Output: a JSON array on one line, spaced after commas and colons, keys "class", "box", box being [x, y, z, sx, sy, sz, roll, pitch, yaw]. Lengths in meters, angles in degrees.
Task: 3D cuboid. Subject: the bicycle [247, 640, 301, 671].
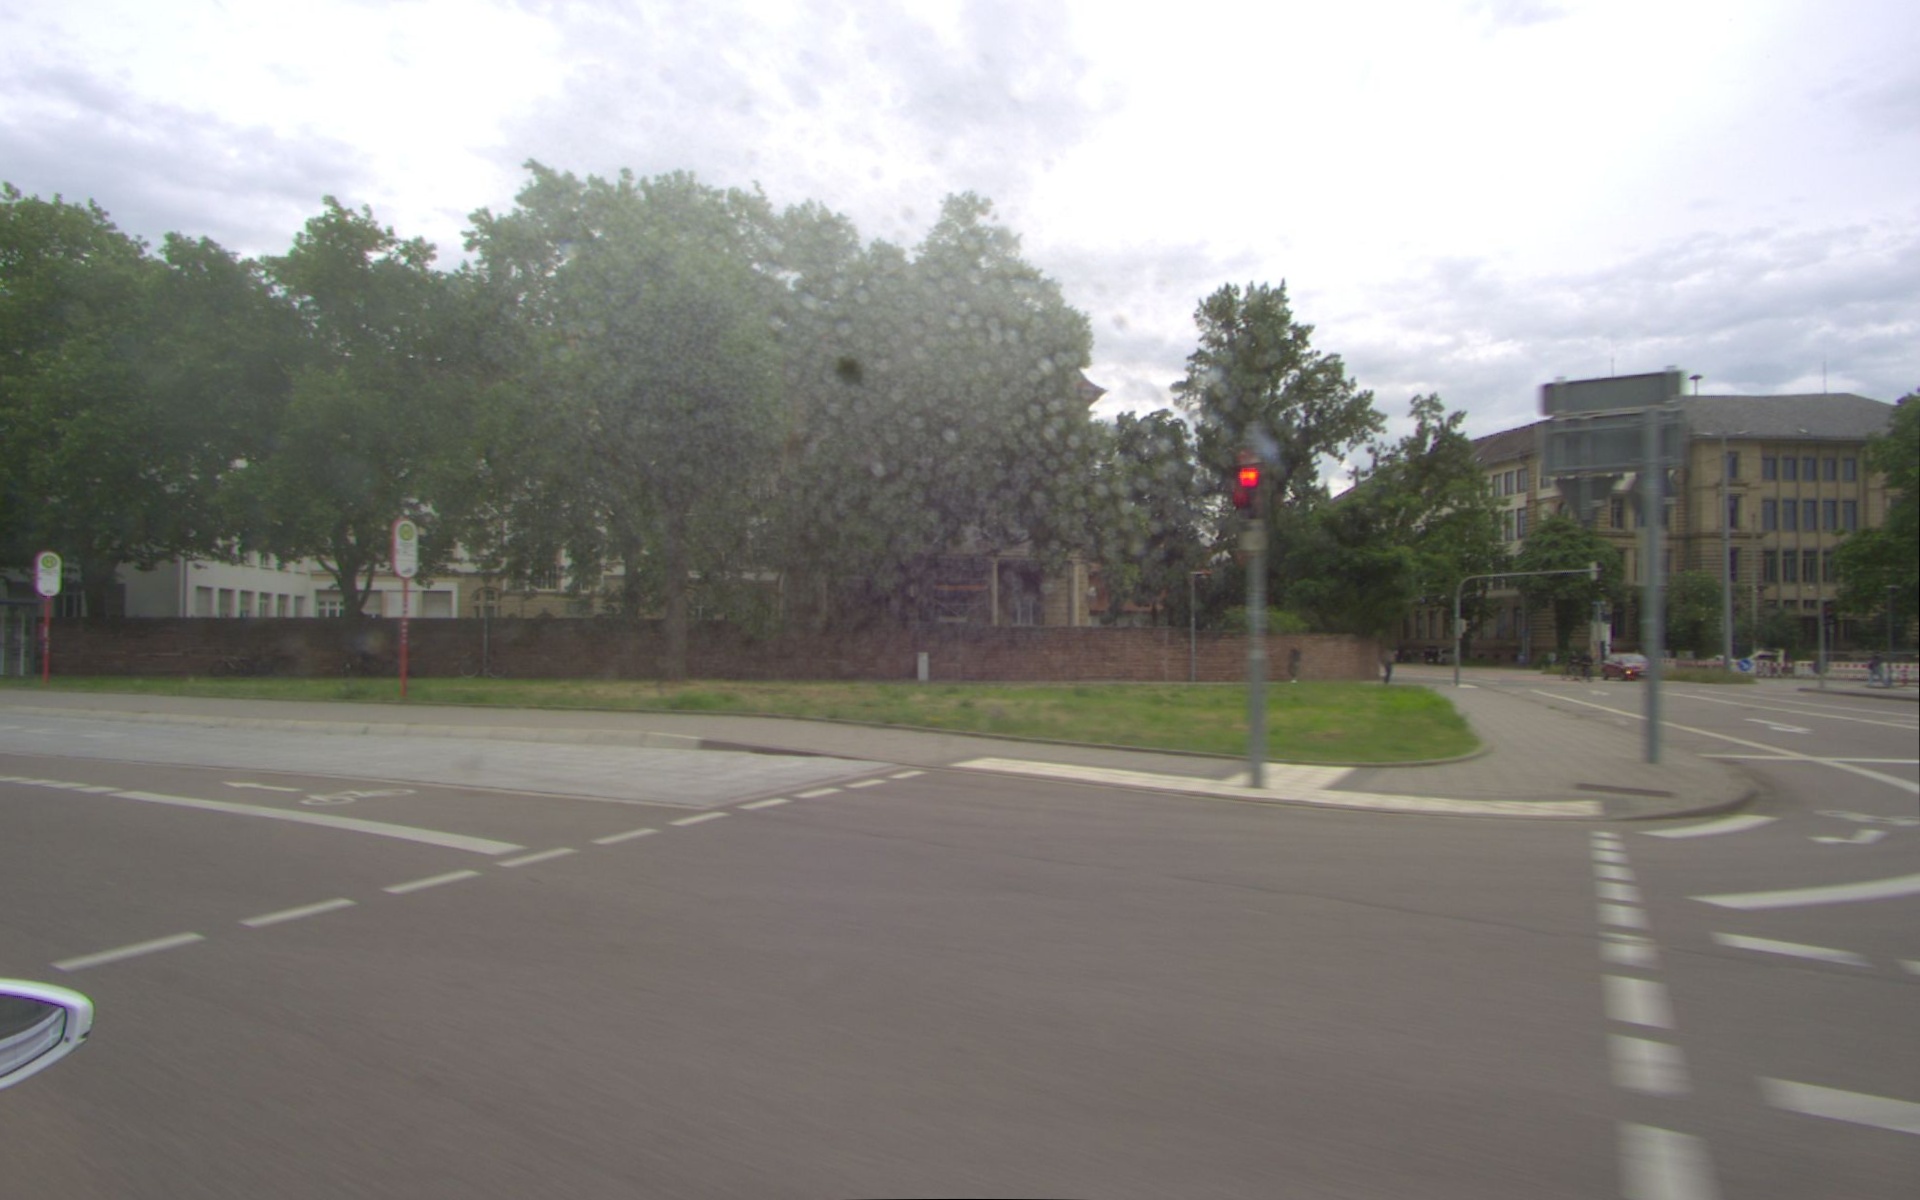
[{"class": "bicycle", "box": [-26.469, 2.130, 38.634, 1.680, 1.144, 0.596, 1, 0, 0]}]

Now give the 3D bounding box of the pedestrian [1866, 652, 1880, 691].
[{"class": "pedestrian", "box": [41.661, 3.263, 45.699, 0.366, 1.727, 0.372, 1, 0, 25]}]

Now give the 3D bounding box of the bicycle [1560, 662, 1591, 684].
[{"class": "bicycle", "box": [34.452, 4.076, 56.103, 0.778, 1.052, 2.220, 0, -1, 12]}]

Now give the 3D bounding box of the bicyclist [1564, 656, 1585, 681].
[{"class": "bicyclist", "box": [34.457, 3.832, 56.130, 0.778, 1.375, 0.740, 0, 0, 12]}]

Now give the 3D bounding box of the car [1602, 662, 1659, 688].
[{"class": "car", "box": [36.340, 4.046, 54.375, 1.420, 1.171, 3.534, 0, -1, 13]}]

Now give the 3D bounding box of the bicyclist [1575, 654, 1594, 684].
[{"class": "bicyclist", "box": [33.462, 3.676, 53.660, 0.590, 1.541, 0.782, 1, 0, 11]}]

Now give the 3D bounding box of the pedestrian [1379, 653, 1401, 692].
[{"class": "pedestrian", "box": [19.096, 3.210, 44.461, 0.684, 1.659, 0.867, 1, -2, 40]}]

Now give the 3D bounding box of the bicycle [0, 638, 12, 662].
[{"class": "bicycle", "box": [-38.593, 1.975, 39.835, 1.496, 0.955, 0.417, 0, 0, 9]}]

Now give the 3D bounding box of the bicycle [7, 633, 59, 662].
[{"class": "bicycle", "box": [-36.355, 1.852, 39.279, 1.623, 1.119, 0.598, 0, 0, 6]}]

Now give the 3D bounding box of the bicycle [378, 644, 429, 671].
[{"class": "bicycle", "box": [-21.417, 2.205, 38.555, 1.605, 1.005, 0.551, 1, 0, -3]}]

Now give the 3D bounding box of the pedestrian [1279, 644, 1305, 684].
[{"class": "pedestrian", "box": [14.842, 2.864, 44.803, 0.811, 1.758, 0.754, 1, 0, -29]}]

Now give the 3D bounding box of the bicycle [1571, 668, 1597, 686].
[{"class": "bicycle", "box": [33.472, 4.137, 53.741, 0.590, 0.831, 1.820, 0, -1, 11]}]

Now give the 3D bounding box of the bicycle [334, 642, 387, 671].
[{"class": "bicycle", "box": [-23.110, 2.171, 38.587, 1.680, 1.073, 0.596, 1, 0, 0]}]

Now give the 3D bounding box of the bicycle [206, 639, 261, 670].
[{"class": "bicycle", "box": [-28.168, 2.105, 38.836, 1.680, 1.151, 0.596, 1, 0, 0]}]
